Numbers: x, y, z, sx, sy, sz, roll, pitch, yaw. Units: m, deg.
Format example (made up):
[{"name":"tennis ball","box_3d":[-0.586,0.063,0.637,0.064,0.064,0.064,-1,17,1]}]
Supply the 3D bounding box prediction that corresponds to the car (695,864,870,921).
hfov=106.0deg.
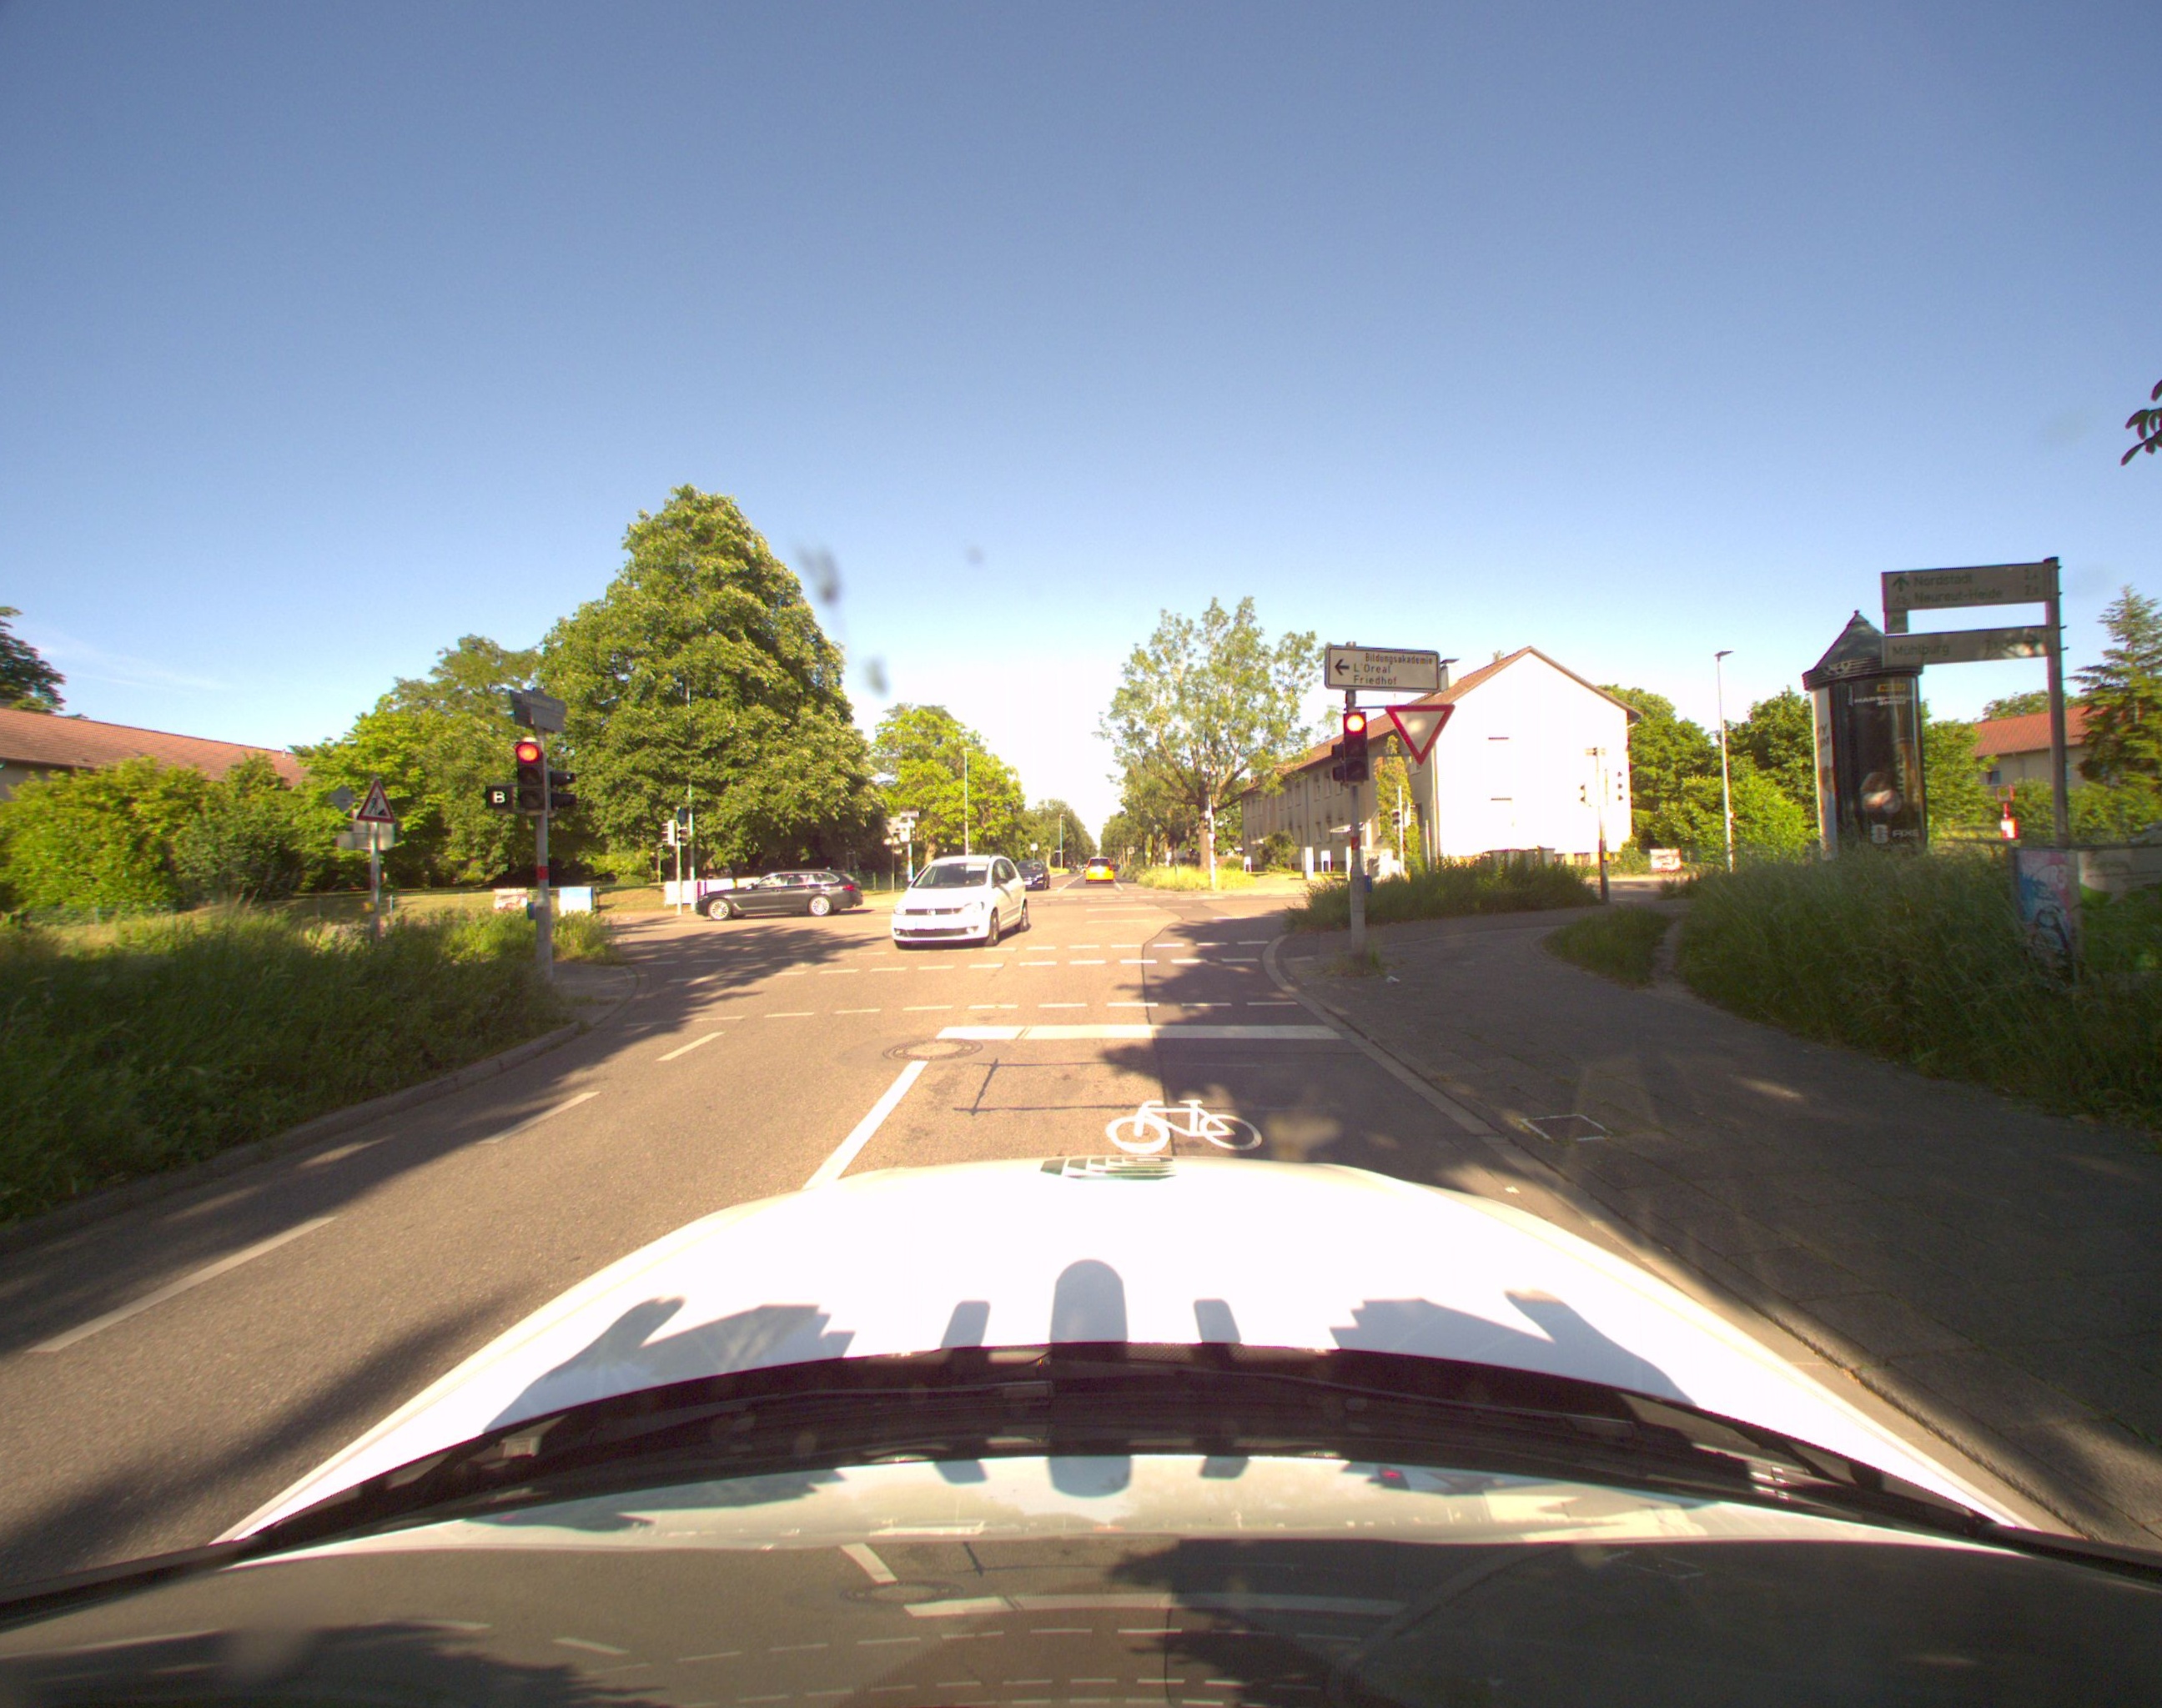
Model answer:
[{"name":"car","box_3d":[-9.196,1.159,25.489,4.725,1.430,1.994,-3,0,-8]}]

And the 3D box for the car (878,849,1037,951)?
[{"name":"car","box_3d":[-2.125,0.741,15.218,1.742,1.563,4.130,-2,0,8]}]

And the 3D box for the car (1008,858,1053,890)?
[{"name":"car","box_3d":[-2.372,0.919,38.825,1.704,1.385,3.473,-2,0,3]}]

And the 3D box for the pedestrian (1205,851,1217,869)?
[{"name":"pedestrian","box_3d":[10.645,0.502,66.889,0.839,1.493,0.924,1,0,1]}]

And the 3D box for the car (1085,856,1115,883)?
[{"name":"car","box_3d":[1.182,0.909,49.200,1.745,1.582,4.002,-1,-1,2]}]

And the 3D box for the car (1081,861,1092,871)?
[{"name":"car","box_3d":[1.051,2.246,151.660,1.751,1.624,3.271,-2,0,3]}]
